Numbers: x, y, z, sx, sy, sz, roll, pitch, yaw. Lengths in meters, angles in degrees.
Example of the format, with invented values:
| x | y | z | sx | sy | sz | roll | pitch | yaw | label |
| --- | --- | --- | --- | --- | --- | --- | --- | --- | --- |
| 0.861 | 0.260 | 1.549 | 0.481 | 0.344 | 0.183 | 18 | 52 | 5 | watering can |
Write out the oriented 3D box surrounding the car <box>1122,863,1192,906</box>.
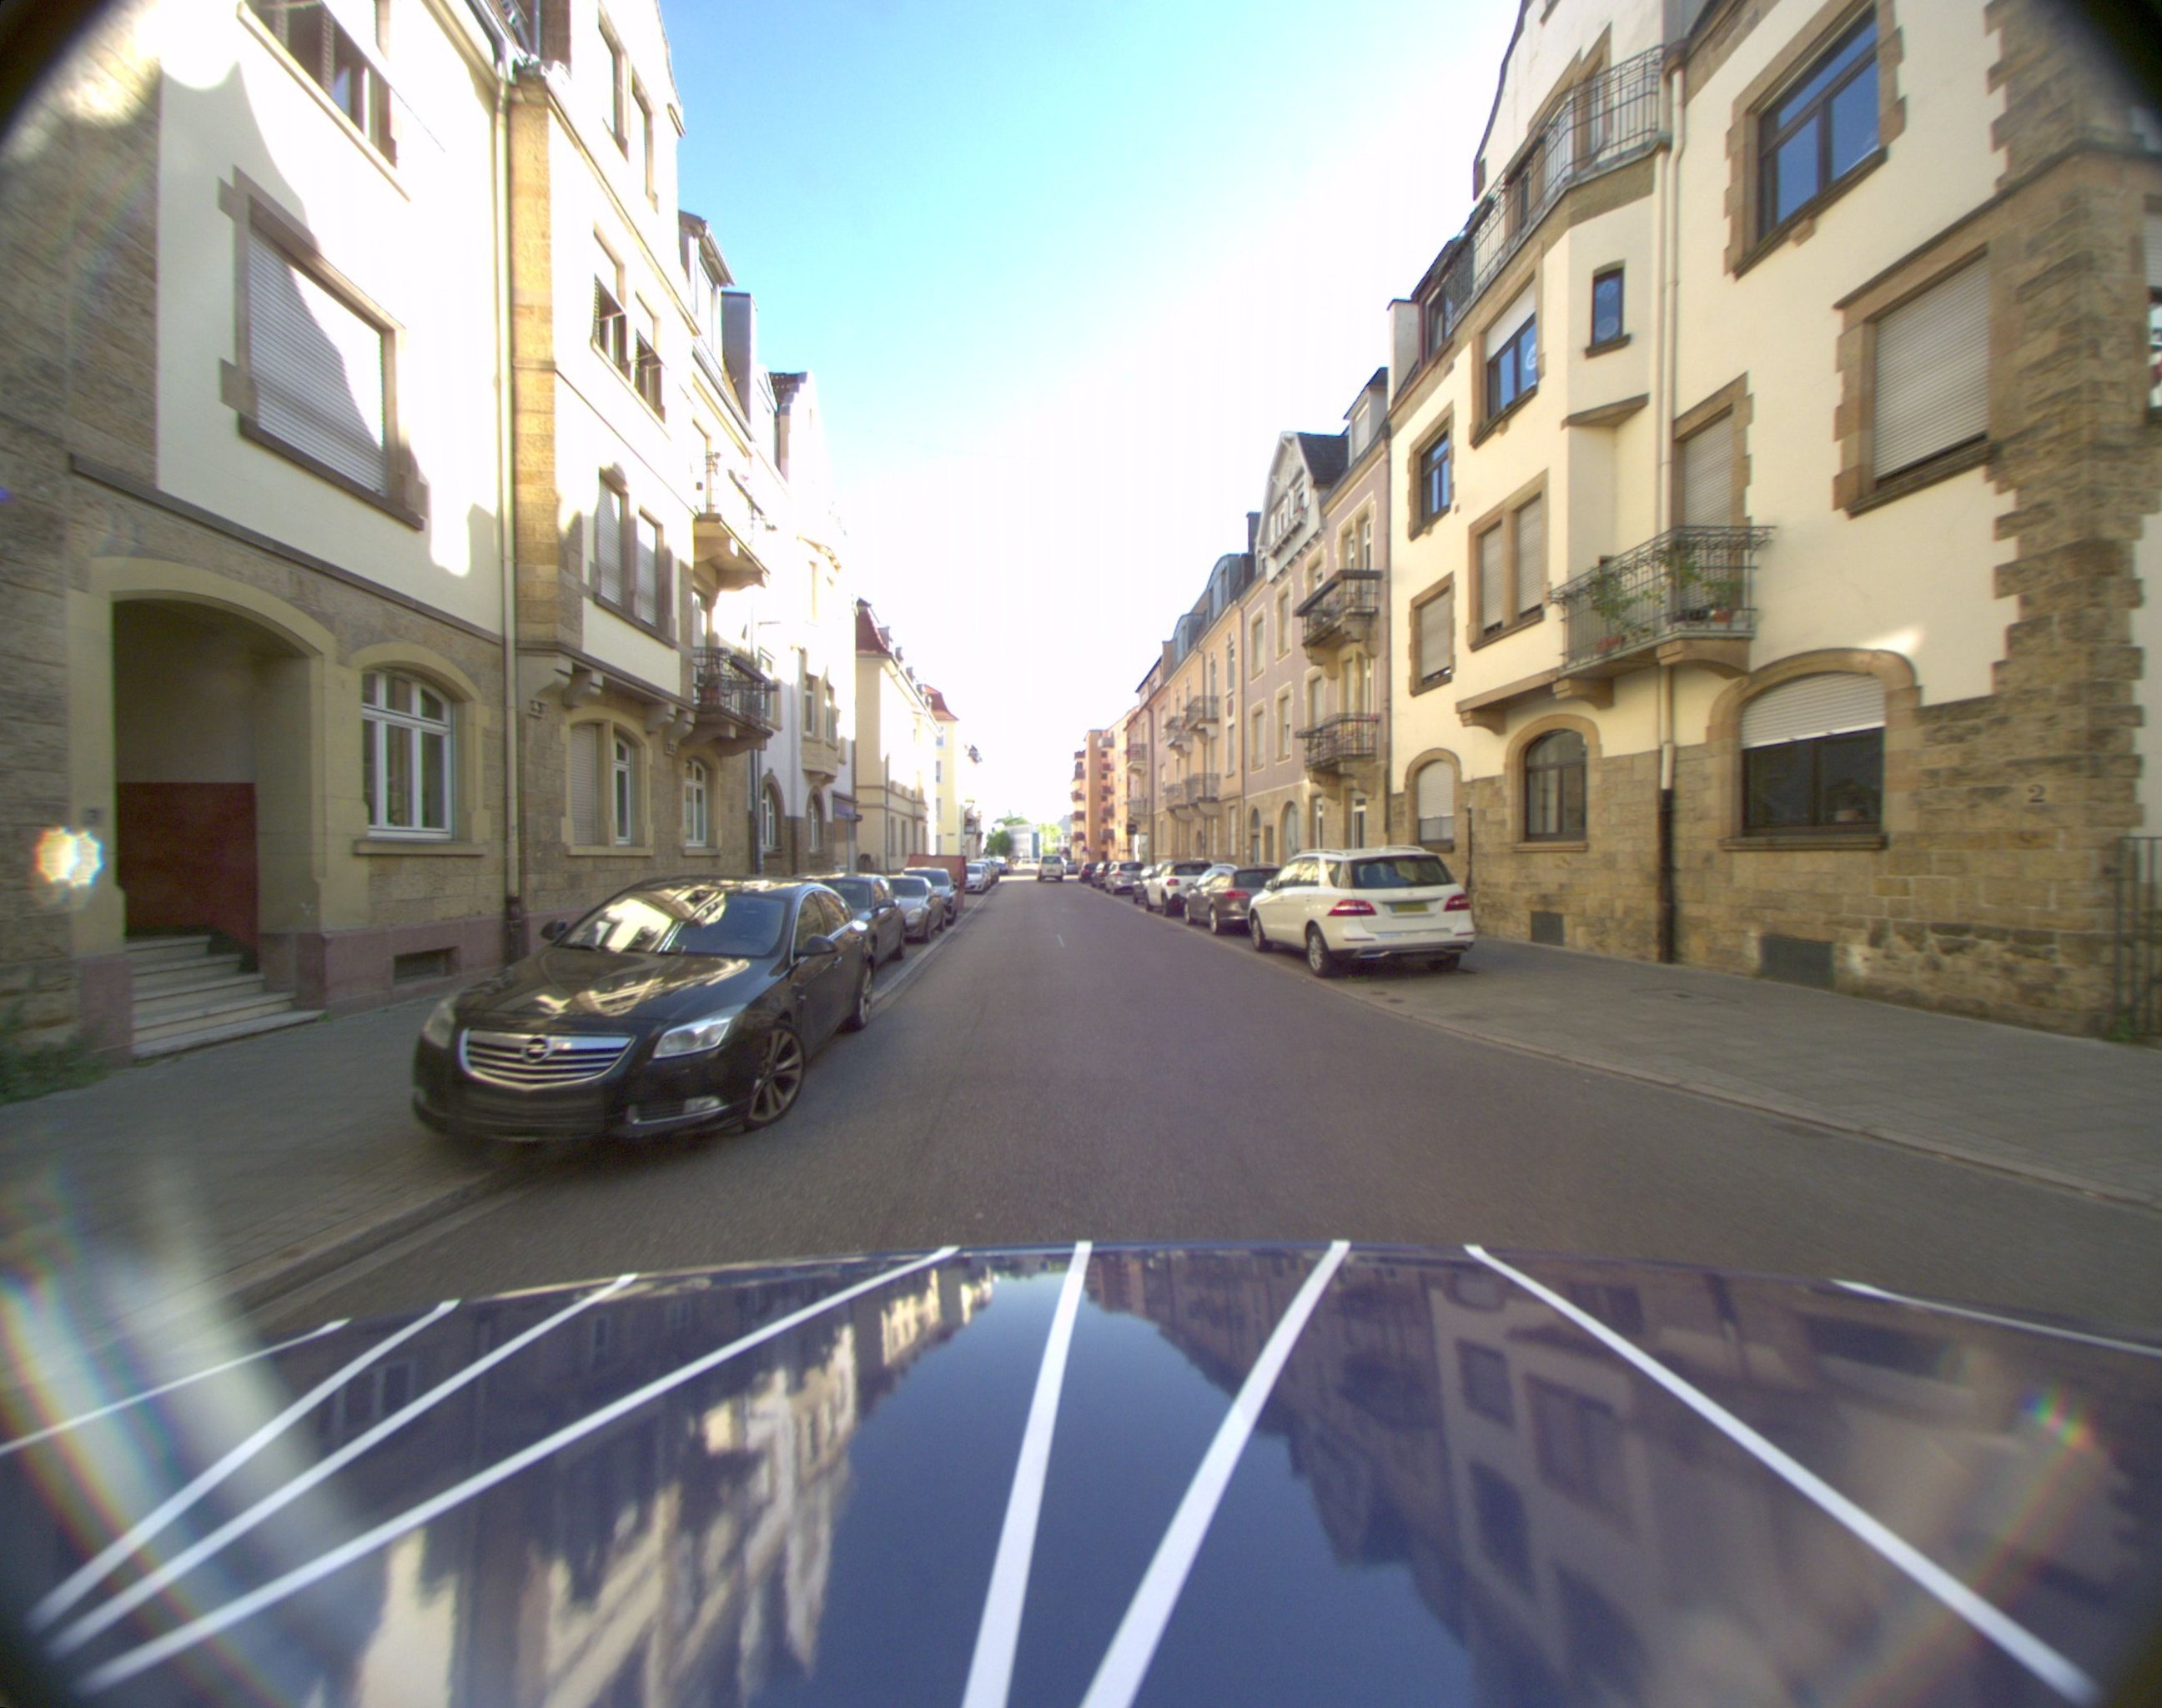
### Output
| x | y | z | sx | sy | sz | roll | pitch | yaw | label |
| --- | --- | --- | --- | --- | --- | --- | --- | --- | --- |
| 2.745 | 1.080 | 28.281 | 1.677 | 1.385 | 3.663 | -4 | 0 | -9 | car |

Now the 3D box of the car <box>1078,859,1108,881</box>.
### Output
| x | y | z | sx | sy | sz | roll | pitch | yaw | label |
| --- | --- | --- | --- | --- | --- | --- | --- | --- | --- |
| 0.813 | 1.087 | 53.312 | 1.719 | 1.378 | 3.863 | -4 | 0 | -4 | car |

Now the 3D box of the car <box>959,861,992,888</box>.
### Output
| x | y | z | sx | sy | sz | roll | pitch | yaw | label |
| --- | --- | --- | --- | --- | --- | --- | --- | --- | --- |
| -5.946 | 1.133 | 43.197 | 1.657 | 1.455 | 4.092 | 0 | 0 | -5 | car |

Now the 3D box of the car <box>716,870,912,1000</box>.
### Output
| x | y | z | sx | sy | sz | roll | pitch | yaw | label |
| --- | --- | --- | --- | --- | --- | --- | --- | --- | --- |
| -3.576 | 0.991 | 10.988 | 1.656 | 1.434 | 4.256 | 0 | 0 | -5 | car |

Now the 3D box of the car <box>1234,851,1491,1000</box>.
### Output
| x | y | z | sx | sy | sz | roll | pitch | yaw | label |
| --- | --- | --- | --- | --- | --- | --- | --- | --- | --- |
| 3.931 | 0.885 | 11.669 | 1.897 | 1.712 | 4.725 | -3 | 0 | -3 | car |

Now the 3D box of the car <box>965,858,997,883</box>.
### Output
| x | y | z | sx | sy | sz | roll | pitch | yaw | label |
| --- | --- | --- | --- | --- | --- | --- | --- | --- | --- |
| -6.430 | 1.045 | 49.246 | 1.684 | 1.537 | 3.913 | 1 | 0 | -2 | car |

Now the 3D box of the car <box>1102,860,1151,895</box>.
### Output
| x | y | z | sx | sy | sz | roll | pitch | yaw | label |
| --- | --- | --- | --- | --- | --- | --- | --- | --- | --- |
| 2.130 | 1.077 | 36.367 | 1.720 | 1.529 | 3.722 | -1 | 0 | -6 | car |

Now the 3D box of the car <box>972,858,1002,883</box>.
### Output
| x | y | z | sx | sy | sz | roll | pitch | yaw | label |
| --- | --- | --- | --- | --- | --- | --- | --- | --- | --- |
| -6.597 | 1.114 | 53.677 | 1.791 | 1.654 | 4.433 | -1 | 0 | -2 | car |

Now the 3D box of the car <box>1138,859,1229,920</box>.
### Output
| x | y | z | sx | sy | sz | roll | pitch | yaw | label |
| --- | --- | --- | --- | --- | --- | --- | --- | --- | --- |
| 2.973 | 0.985 | 22.903 | 1.720 | 1.574 | 4.018 | -4 | 0 | -6 | car |

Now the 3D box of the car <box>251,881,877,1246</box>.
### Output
| x | y | z | sx | sy | sz | roll | pitch | yaw | label |
| --- | --- | --- | --- | --- | --- | --- | --- | --- | --- |
| -2.861 | 1.000 | 5.565 | 1.871 | 1.453 | 4.337 | 0 | 0 | -5 | car |

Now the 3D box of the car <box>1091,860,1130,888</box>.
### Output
| x | y | z | sx | sy | sz | roll | pitch | yaw | label |
| --- | --- | --- | --- | --- | --- | --- | --- | --- | --- |
| 1.645 | 1.085 | 43.060 | 1.720 | 1.512 | 4.108 | 0 | 0 | -5 | car |

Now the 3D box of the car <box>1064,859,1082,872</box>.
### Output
| x | y | z | sx | sy | sz | roll | pitch | yaw | label |
| --- | --- | --- | --- | --- | --- | --- | --- | --- | --- |
| -0.842 | 1.217 | 81.170 | 1.679 | 1.413 | 3.499 | -1 | 0 | -4 | car |

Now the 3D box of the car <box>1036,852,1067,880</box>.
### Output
| x | y | z | sx | sy | sz | roll | pitch | yaw | label |
| --- | --- | --- | --- | --- | --- | --- | --- | --- | --- |
| -2.211 | 0.831 | 55.506 | 1.869 | 1.925 | 4.596 | -1 | 0 | -7 | car |

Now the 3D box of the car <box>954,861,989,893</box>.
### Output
| x | y | z | sx | sy | sz | roll | pitch | yaw | label |
| --- | --- | --- | --- | --- | --- | --- | --- | --- | --- |
| -5.402 | 1.099 | 37.835 | 1.591 | 1.455 | 3.710 | 0 | 0 | -6 | car |

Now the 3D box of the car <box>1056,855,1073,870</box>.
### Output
| x | y | z | sx | sy | sz | roll | pitch | yaw | label |
| --- | --- | --- | --- | --- | --- | --- | --- | --- | --- |
| -2.030 | 1.040 | 92.536 | 1.823 | 1.866 | 4.110 | 0 | 0 | -4 | car |

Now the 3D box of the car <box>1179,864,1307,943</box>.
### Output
| x | y | z | sx | sy | sz | roll | pitch | yaw | label |
| --- | --- | --- | --- | --- | --- | --- | --- | --- | --- |
| 3.504 | 1.012 | 17.236 | 1.578 | 1.478 | 4.278 | -2 | 0 | -5 | car |

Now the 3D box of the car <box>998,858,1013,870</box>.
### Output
| x | y | z | sx | sy | sz | roll | pitch | yaw | label |
| --- | --- | --- | --- | --- | --- | --- | --- | --- | --- |
| -8.932 | 1.161 | 89.775 | 1.709 | 1.417 | 3.720 | 0 | 0 | -6 | car |

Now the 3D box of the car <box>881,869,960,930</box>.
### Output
| x | y | z | sx | sy | sz | roll | pitch | yaw | label |
| --- | --- | --- | --- | --- | --- | --- | --- | --- | --- |
| -4.271 | 1.154 | 20.731 | 1.792 | 1.421 | 3.805 | -1 | 0 | -8 | car |

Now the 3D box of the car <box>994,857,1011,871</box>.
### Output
| x | y | z | sx | sy | sz | roll | pitch | yaw | label |
| --- | --- | --- | --- | --- | --- | --- | --- | --- | --- |
| -8.630 | 1.042 | 83.434 | 1.709 | 1.417 | 3.720 | 1 | 1 | -5 | car |

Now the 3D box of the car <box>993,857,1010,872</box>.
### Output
| x | y | z | sx | sy | sz | roll | pitch | yaw | label |
| --- | --- | --- | --- | --- | --- | --- | --- | --- | --- |
| -8.135 | 1.045 | 77.992 | 1.709 | 1.417 | 3.720 | 1 | 1 | -5 | car |

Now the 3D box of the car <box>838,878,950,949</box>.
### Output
| x | y | z | sx | sy | sz | roll | pitch | yaw | label |
| --- | --- | --- | --- | --- | --- | --- | --- | --- | --- |
| -3.885 | 1.192 | 16.396 | 1.698 | 1.247 | 3.939 | 0 | 0 | -4 | car |
